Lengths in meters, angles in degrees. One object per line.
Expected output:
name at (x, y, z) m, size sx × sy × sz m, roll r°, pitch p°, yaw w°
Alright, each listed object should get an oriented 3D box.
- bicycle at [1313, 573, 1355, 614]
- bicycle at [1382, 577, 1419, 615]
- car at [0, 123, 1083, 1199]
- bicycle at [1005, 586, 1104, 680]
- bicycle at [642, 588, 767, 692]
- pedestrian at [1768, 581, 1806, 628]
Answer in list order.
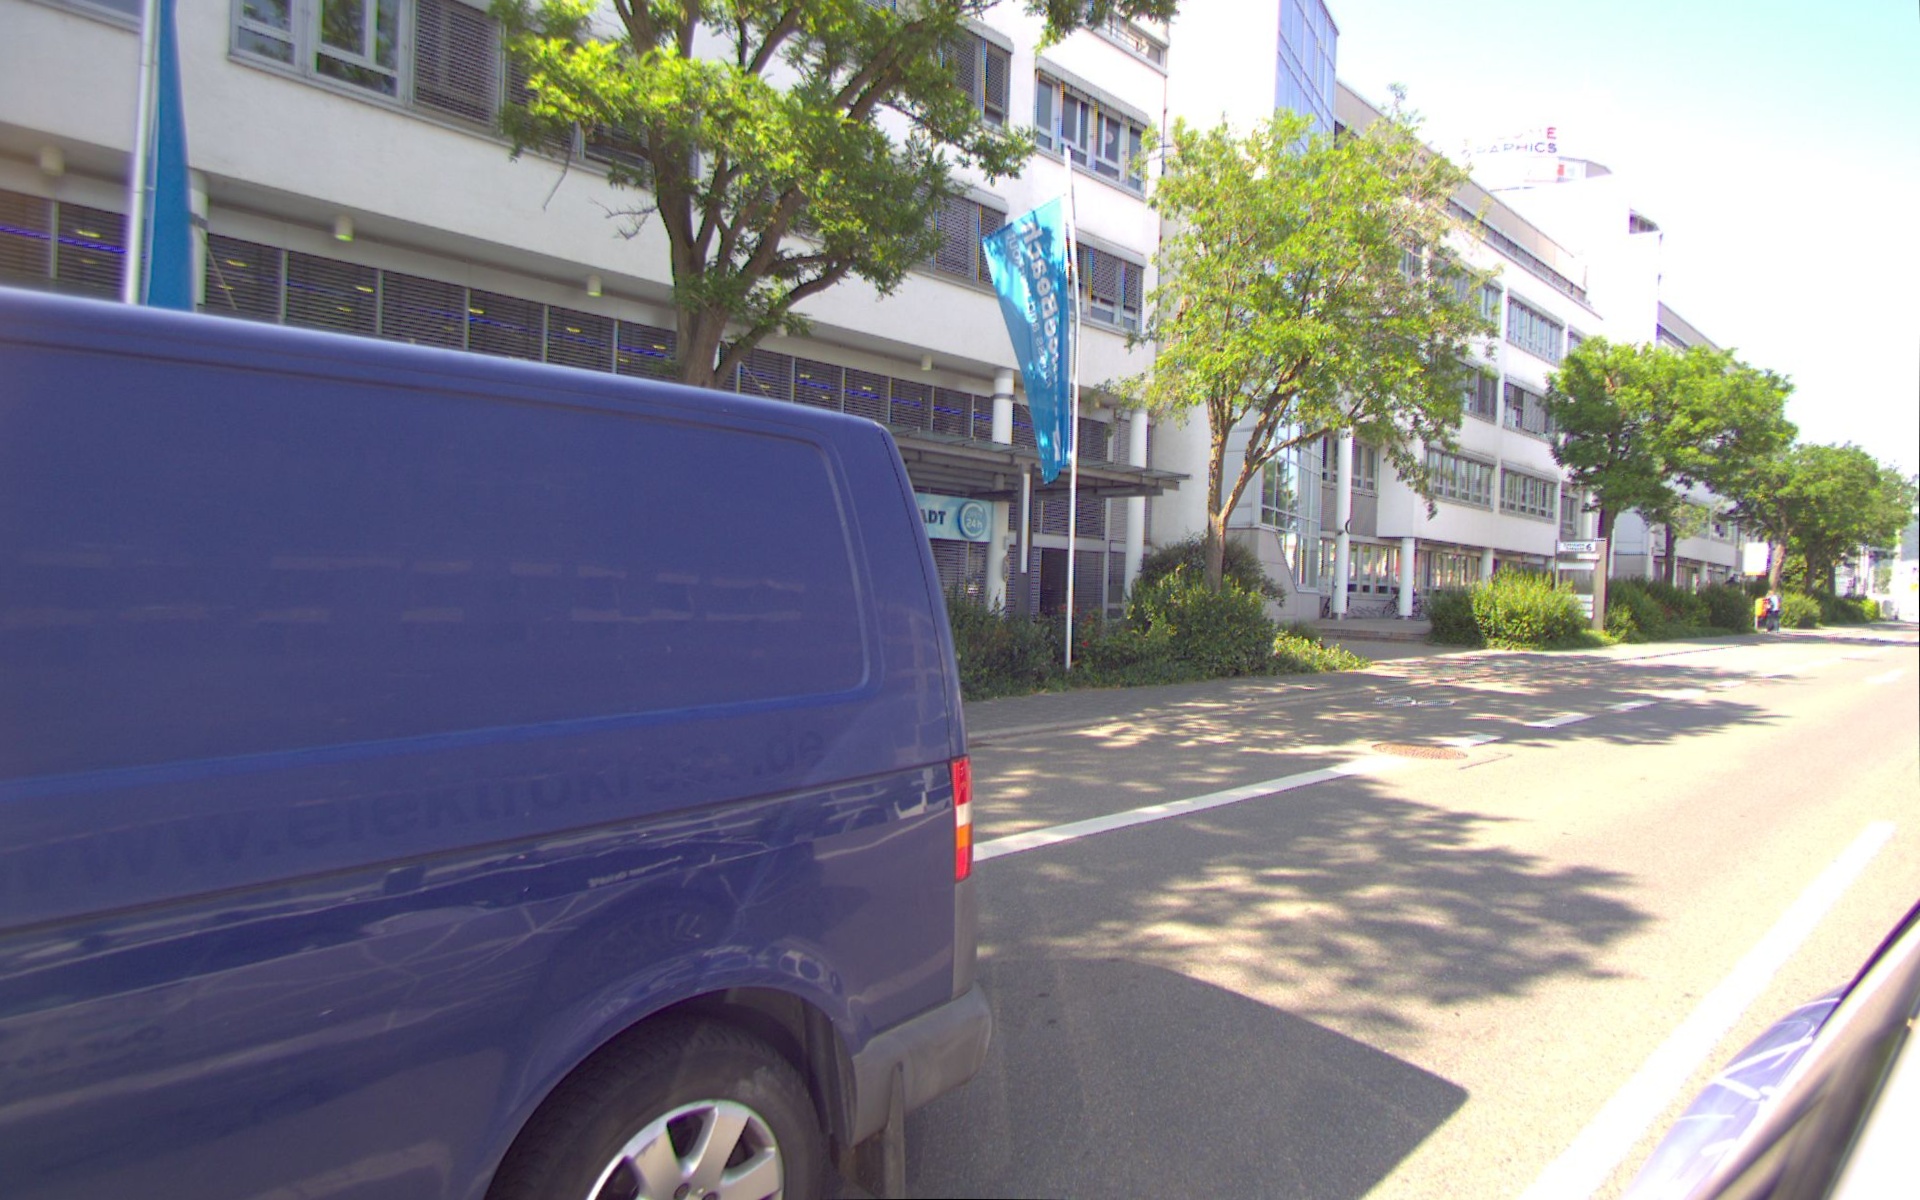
bicycle at (12.896, -0.214, 34.889) m, size 1.852 × 1.371 × 0.506 m, roll 0°, pitch 1°, yaw -41°
bicycle at (16.337, -0.146, 37.512) m, size 1.852 × 1.371 × 0.506 m, roll 0°, pitch 1°, yaw -41°
car at (-2.170, 0.408, 1.601) m, size 4.806 × 1.972 × 1.997 m, roll -1°, pitch 2°, yaw -41°
bicycle at (1.485, 0.478, 15.595) m, size 0.504 × 1.346 × 1.856 m, roll 2°, pitch 1°, yaw 41°
bicycle at (-3.641, 0.536, 14.377) m, size 1.868 × 1.346 × 0.501 m, roll 2°, pitch 1°, yaw 30°
pedestrian at (35.138, 0.195, 42.996) m, size 1.267 × 1.909 × 0.942 m, roll 0°, pitch 4°, yaw -41°
